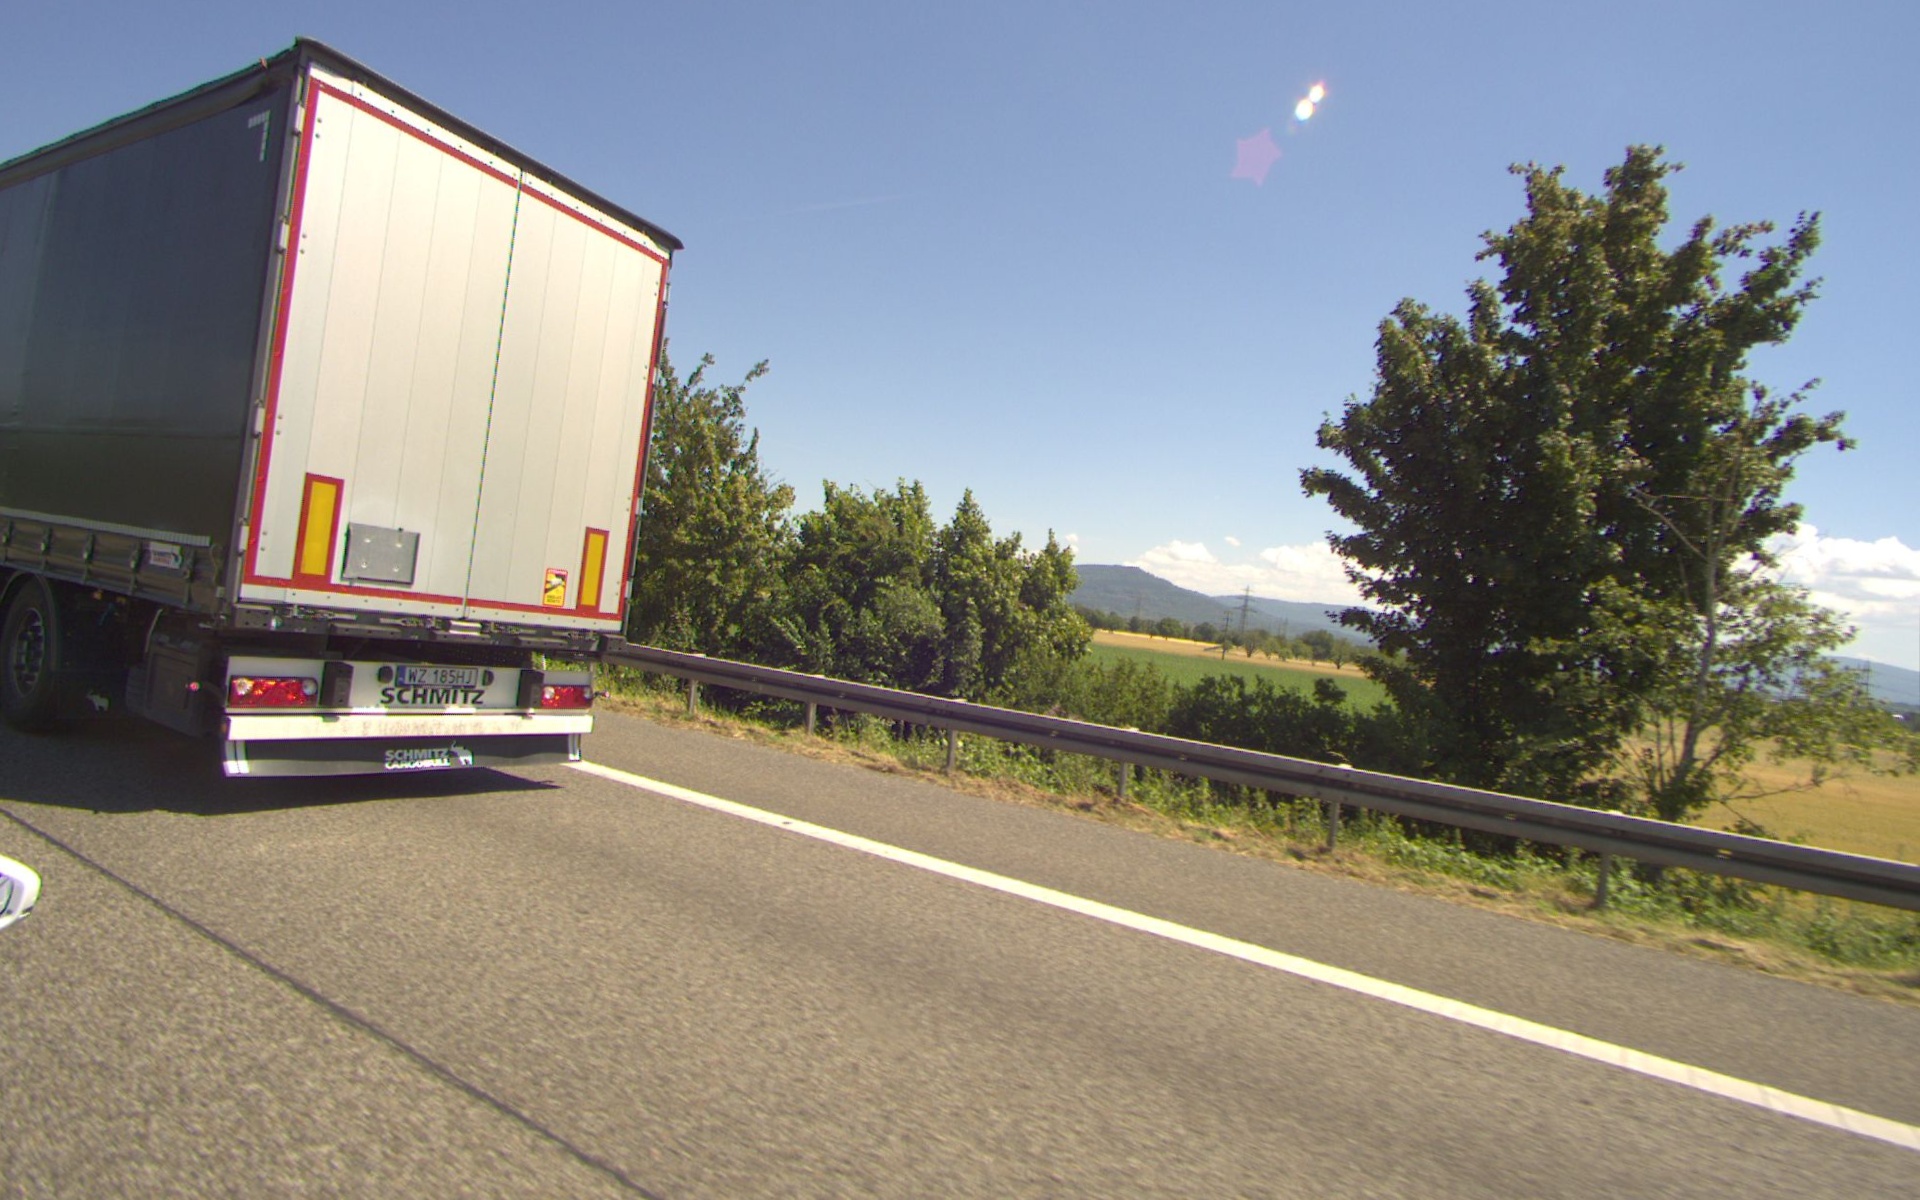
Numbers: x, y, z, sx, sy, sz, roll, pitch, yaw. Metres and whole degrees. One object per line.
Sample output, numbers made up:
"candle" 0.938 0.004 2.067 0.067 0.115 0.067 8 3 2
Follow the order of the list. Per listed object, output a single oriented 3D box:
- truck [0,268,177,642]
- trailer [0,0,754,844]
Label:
"truck" -14.189 -2.028 13.359 6.731 4.225 3.471 6 -2 32
"trailer" -8.375 -1.429 9.741 13.407 4.229 3.441 7 -2 32
